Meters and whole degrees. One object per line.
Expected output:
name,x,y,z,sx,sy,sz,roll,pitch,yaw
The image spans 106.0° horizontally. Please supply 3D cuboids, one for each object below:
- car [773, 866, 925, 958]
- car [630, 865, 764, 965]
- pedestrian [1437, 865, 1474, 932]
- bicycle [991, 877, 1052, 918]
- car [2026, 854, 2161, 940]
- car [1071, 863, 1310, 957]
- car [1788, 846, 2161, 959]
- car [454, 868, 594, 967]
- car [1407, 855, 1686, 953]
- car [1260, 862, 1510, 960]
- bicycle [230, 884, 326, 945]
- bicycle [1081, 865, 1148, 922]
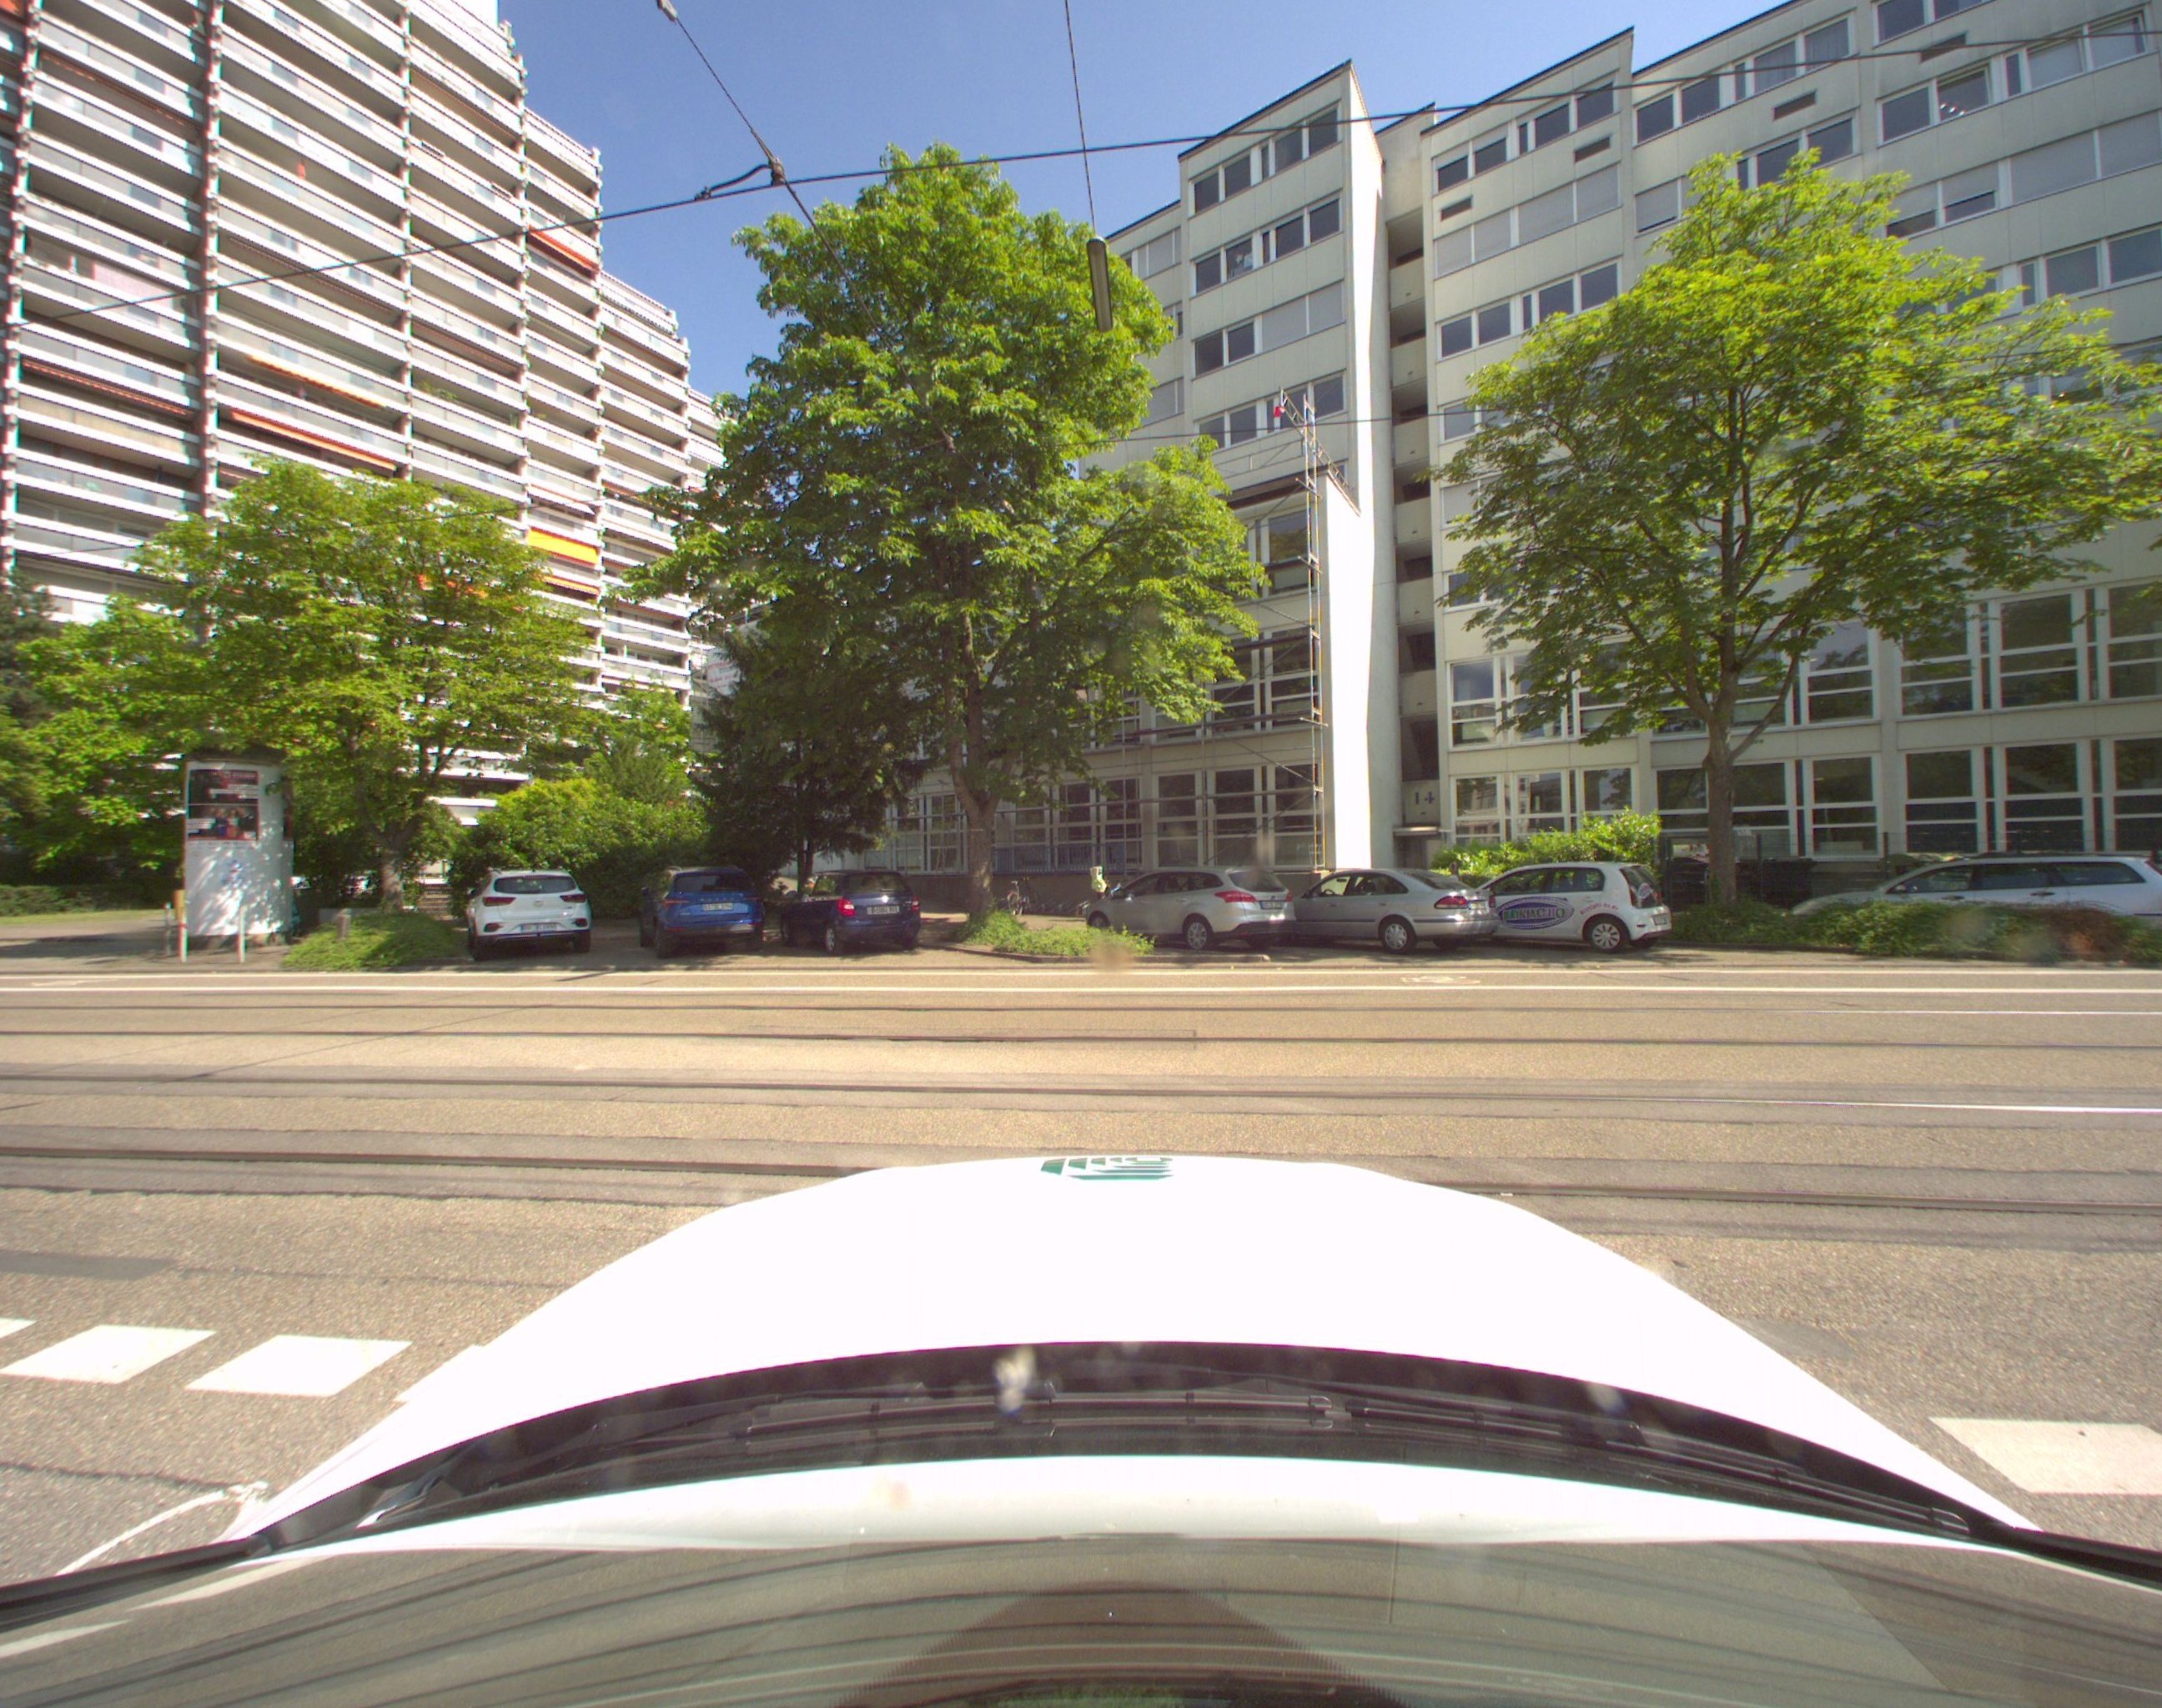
car,-4.466,1.020,15.408,1.584,1.531,3.418,0,-2,-38
car,-7.516,1.047,15.745,1.788,1.622,3.904,-1,0,-34
pedestrian,8.266,0.985,17.991,0.615,1.461,0.426,-1,-2,13
bicycle,-1.654,1.219,23.068,0.734,1.086,2.216,-2,-2,25
car,17.975,0.667,12.847,1.566,1.357,3.900,0,-2,-38
car,1.857,0.953,15.148,1.793,1.486,4.384,0,-2,-38
car,14.724,0.749,13.511,1.567,1.604,4.292,0,-2,-41
car,-10.957,1.139,15.913,1.829,1.606,3.898,-2,0,-40
car,8.024,0.848,14.357,1.620,1.486,3.900,0,-3,-37
car,5.219,0.934,14.439,1.620,1.486,3.901,0,-2,-36
bicycle,-18.077,1.353,18.348,1.610,1.309,0.547,-1,-2,1
bicycle,0.922,1.028,21.841,0.655,1.453,2.103,-2,-2,38
